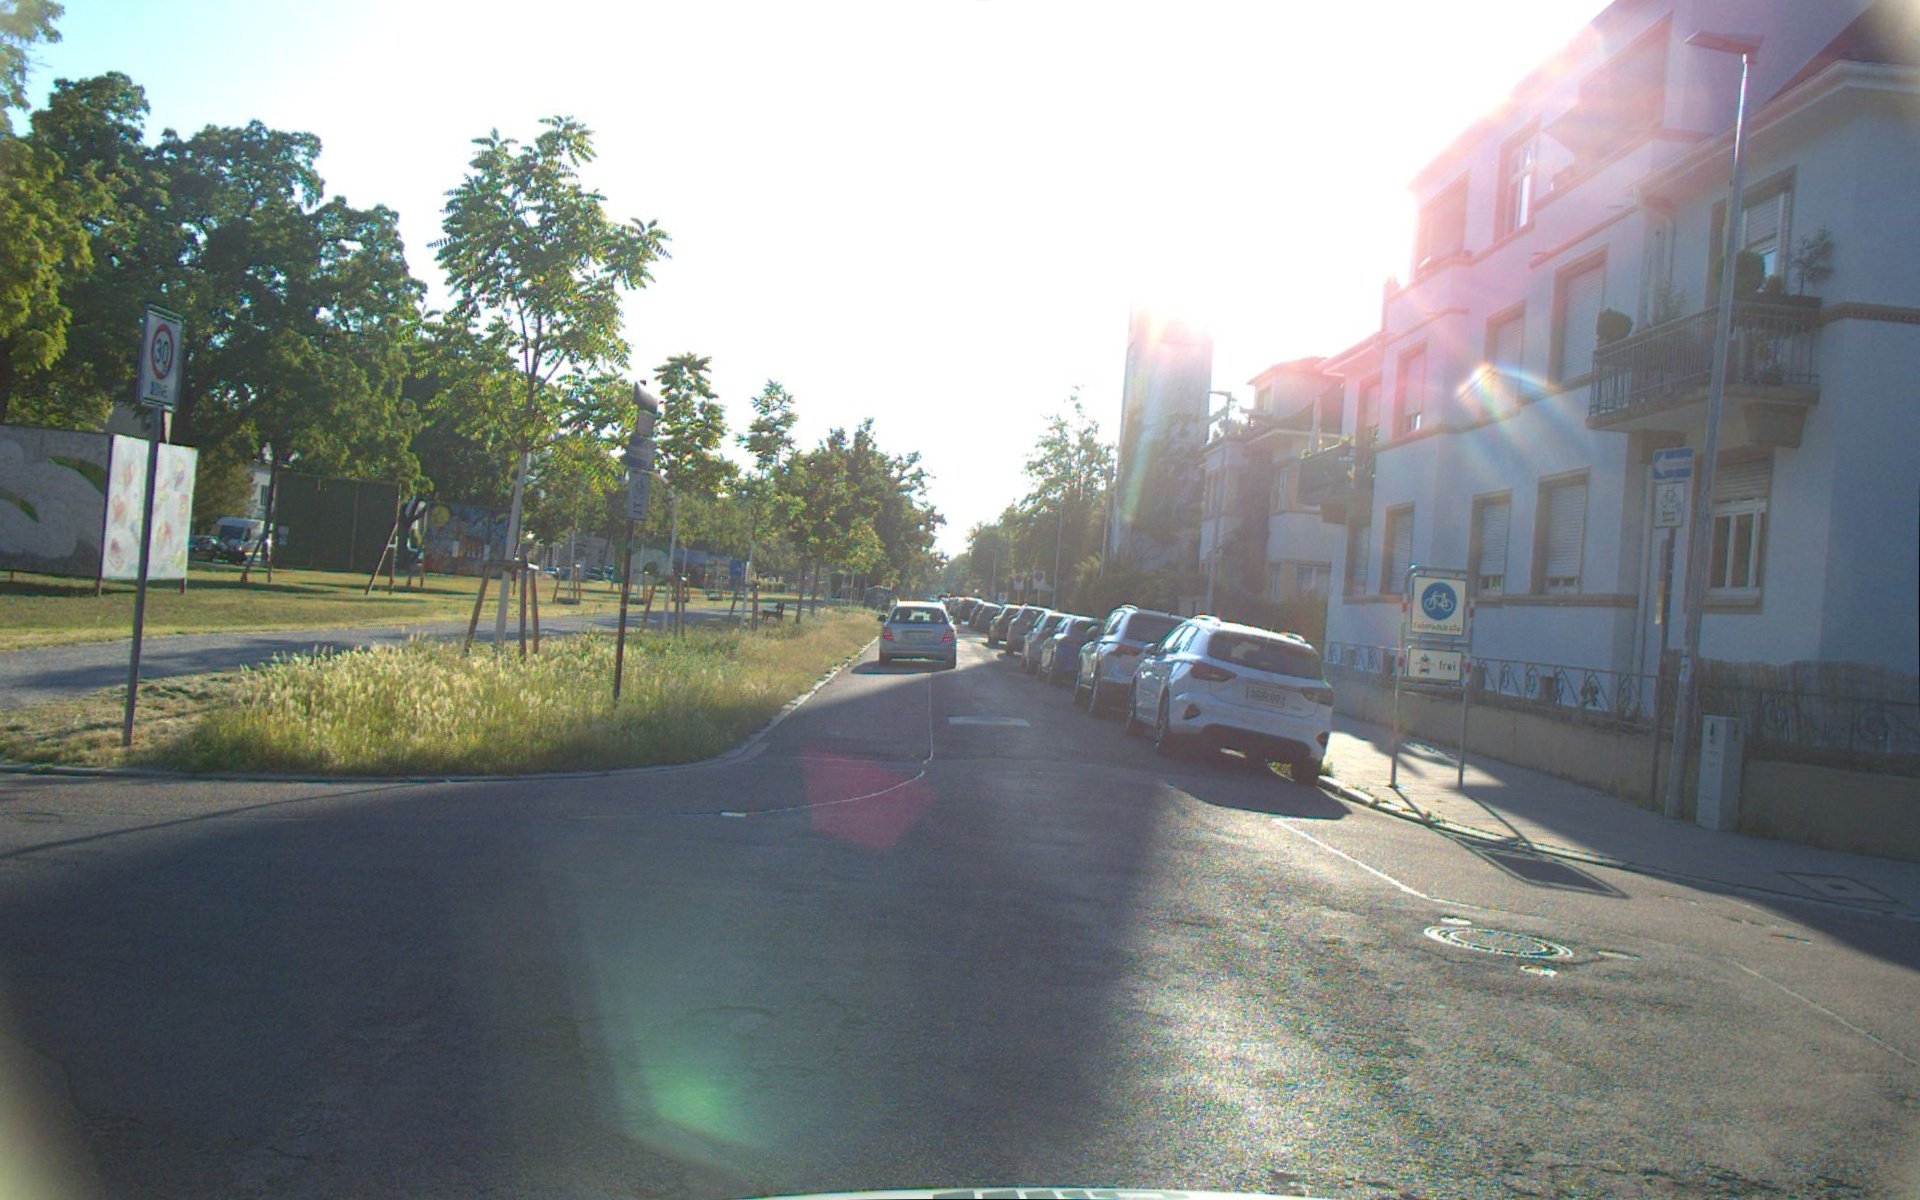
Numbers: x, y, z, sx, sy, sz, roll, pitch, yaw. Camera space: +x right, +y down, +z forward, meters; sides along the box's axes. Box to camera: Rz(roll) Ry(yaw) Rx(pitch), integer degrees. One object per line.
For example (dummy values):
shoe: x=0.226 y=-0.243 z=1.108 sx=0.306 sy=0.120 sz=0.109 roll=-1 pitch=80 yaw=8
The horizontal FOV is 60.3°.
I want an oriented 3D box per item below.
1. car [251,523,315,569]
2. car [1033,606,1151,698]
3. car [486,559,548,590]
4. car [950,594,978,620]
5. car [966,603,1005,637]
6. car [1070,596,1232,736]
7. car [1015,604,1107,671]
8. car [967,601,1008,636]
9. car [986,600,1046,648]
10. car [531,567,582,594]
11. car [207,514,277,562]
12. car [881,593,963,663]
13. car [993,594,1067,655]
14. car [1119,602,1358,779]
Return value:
car: x=-40.652 y=-3.219 z=99.365 sx=1.953 sy=2.451 sz=4.362 roll=3 pitch=-1 yaw=-1
car: x=2.630 y=1.006 z=33.822 sx=1.728 sy=1.443 sz=3.998 roll=11 pitch=0 yaw=-2
car: x=-36.232 y=-2.039 z=135.595 sx=3.095 sy=2.185 sz=6.892 roll=3 pitch=-1 yaw=0
car: x=0.282 y=0.515 z=120.644 sx=1.940 sy=1.712 sz=4.000 roll=5 pitch=0 yaw=0
car: x=1.402 y=1.111 z=92.668 sx=1.953 sy=1.657 sz=4.000 roll=5 pitch=0 yaw=0
car: x=2.781 y=0.916 z=24.975 sx=1.653 sy=1.678 sz=4.098 roll=9 pitch=0 yaw=-1
car: x=2.352 y=0.853 z=39.358 sx=1.725 sy=1.445 sz=3.998 roll=2 pitch=0 yaw=-2
car: x=1.396 y=0.947 z=86.026 sx=1.953 sy=1.657 sz=4.000 roll=5 pitch=0 yaw=0
car: x=1.991 y=0.842 z=59.887 sx=1.953 sy=1.489 sz=4.000 roll=5 pitch=0 yaw=0
car: x=-37.077 y=-1.782 z=152.325 sx=3.095 sy=2.185 sz=6.109 roll=3 pitch=-1 yaw=0
car: x=-40.608 y=-3.489 z=93.668 sx=1.953 sy=2.451 sz=4.362 roll=3 pitch=-1 yaw=-1
car: x=-0.911 y=0.602 z=37.991 sx=1.725 sy=1.445 sz=3.998 roll=3 pitch=0 yaw=-2
car: x=2.050 y=0.706 z=49.358 sx=1.726 sy=1.547 sz=3.998 roll=7 pitch=0 yaw=-2
car: x=3.039 y=0.919 z=18.957 sx=1.724 sy=1.632 sz=4.357 roll=5 pitch=0 yaw=-2
